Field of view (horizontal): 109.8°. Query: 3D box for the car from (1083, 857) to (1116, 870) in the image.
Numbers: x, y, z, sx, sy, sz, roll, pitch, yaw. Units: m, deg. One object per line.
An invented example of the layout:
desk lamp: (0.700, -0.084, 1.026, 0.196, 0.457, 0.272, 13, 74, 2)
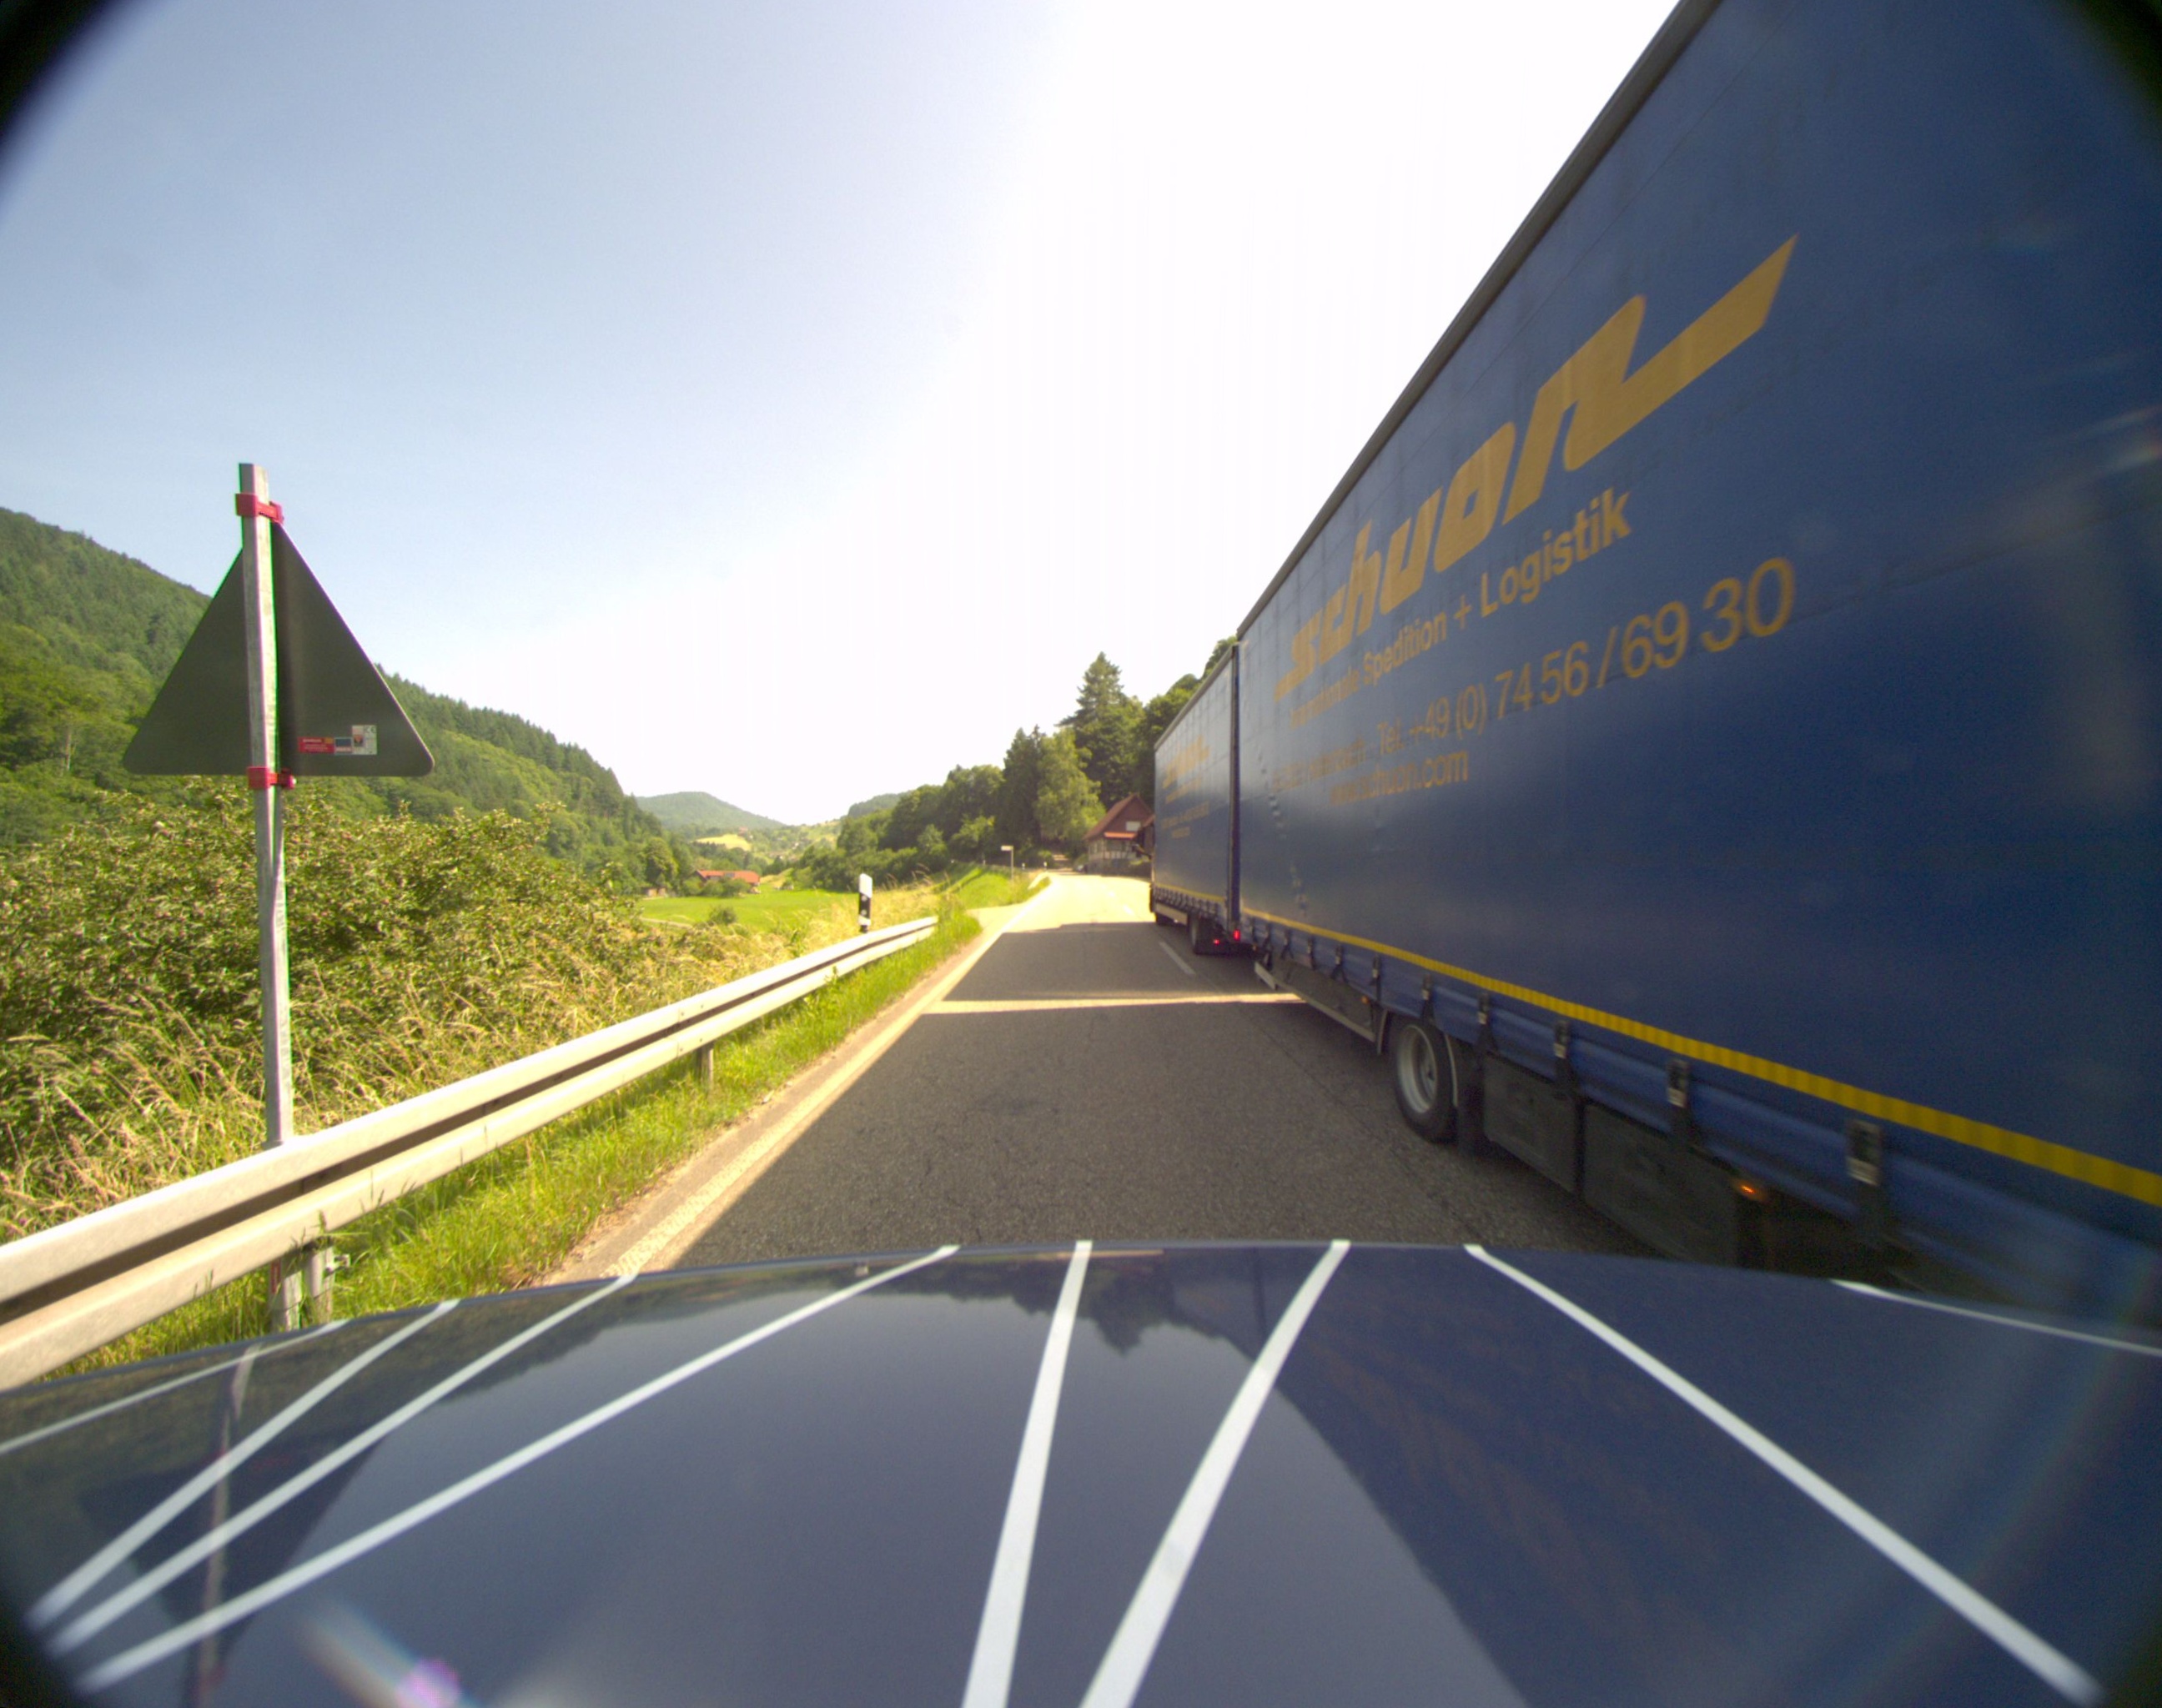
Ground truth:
car: (2.303, 1.199, 95.685, 3.831, 1.424, 1.861, 1, 1, -14)

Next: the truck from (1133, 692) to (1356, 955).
truck: (3.003, -0.452, 16.224, 3.196, 4.370, 6.572, -2, -1, 0)

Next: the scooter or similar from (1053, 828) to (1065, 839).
scooter or similar: (-4.429, -4.026, 152.587, 1.984, 2.015, 4.402, -4, 1, -7)

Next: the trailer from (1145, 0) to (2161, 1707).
trailer: (3.067, -0.568, 7.718, 3.268, 4.391, 15.316, -2, -1, -1)

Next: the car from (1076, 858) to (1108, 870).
car: (1.404, 1.292, 98.063, 3.831, 1.408, 1.855, 0, -1, -14)
